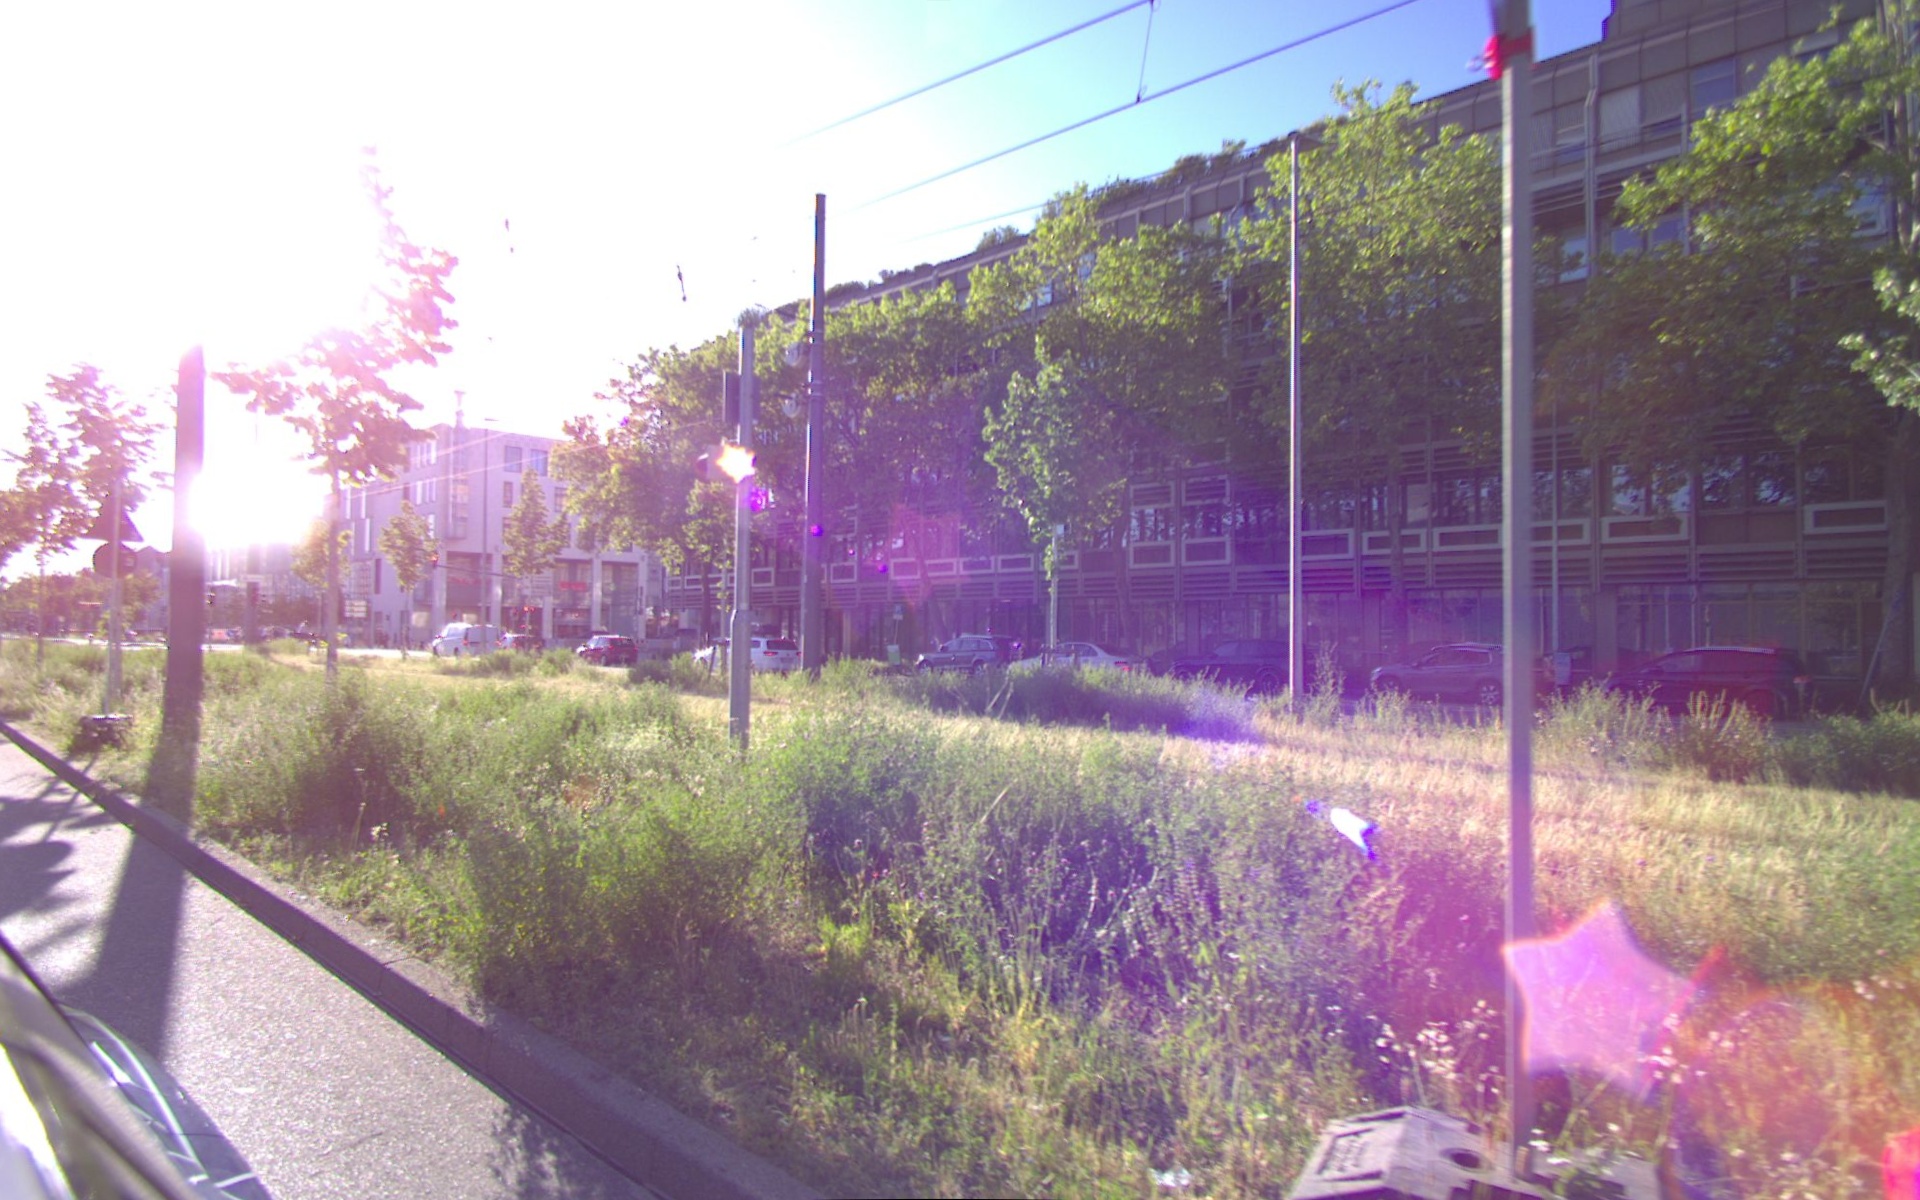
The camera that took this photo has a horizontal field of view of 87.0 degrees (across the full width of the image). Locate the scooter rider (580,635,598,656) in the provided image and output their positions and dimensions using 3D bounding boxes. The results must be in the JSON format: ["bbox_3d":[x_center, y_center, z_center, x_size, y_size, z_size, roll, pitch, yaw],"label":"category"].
[{"bbox_3d":[-28.617,3.504,77.969,0.644,1.556,1.101,0,-2,45],"label":"scooter rider"}]

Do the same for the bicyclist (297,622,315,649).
[{"bbox_3d":[-40.071,2.172,62.018,0.774,1.682,0.702,2,-3,-42],"label":"bicyclist"}]

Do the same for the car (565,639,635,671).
[{"bbox_3d":[-17.585,2.671,49.346,3.575,1.464,1.692,-1,-5,43],"label":"car"}]

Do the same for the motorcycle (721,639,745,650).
[{"bbox_3d":[-20.251,3.998,90.243,1.928,0.976,0.759,2,-2,-38],"label":"motorcycle"}]

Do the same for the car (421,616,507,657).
[{"bbox_3d":[-26.484,1.933,53.926,5.710,2.029,2.233,-2,-5,44],"label":"car"}]

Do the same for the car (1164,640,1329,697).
[{"bbox_3d":[8.765,2.049,31.235,4.620,1.569,1.726,-1,-1,41],"label":"car"}]

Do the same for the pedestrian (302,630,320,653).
[{"bbox_3d":[-57.300,3.671,89.362,0.906,2.029,1.021,0,-2,8],"label":"pedestrian"}]

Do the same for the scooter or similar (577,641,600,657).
[{"bbox_3d":[-28.616,3.742,77.960,0.644,1.184,1.462,0,-2,45],"label":"scooter or similar"}]

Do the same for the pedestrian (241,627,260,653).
[{"bbox_3d":[-59.077,3.290,84.283,0.884,2.140,0.949,1,-2,-10],"label":"pedestrian"}]

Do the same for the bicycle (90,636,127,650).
[{"bbox_3d":[-64.547,3.266,76.712,2.046,0.986,0.806,1,-2,-45],"label":"bicycle"}]

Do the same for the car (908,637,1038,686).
[{"bbox_3d":[0.451,2.320,39.033,4.864,1.693,1.973,-1,-1,40],"label":"car"}]

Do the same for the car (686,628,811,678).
[{"bbox_3d":[-7.433,1.806,35.356,4.691,1.606,1.821,-1,-3,41],"label":"car"}]

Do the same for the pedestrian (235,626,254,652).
[{"bbox_3d":[-60.092,3.286,85.007,0.889,2.140,0.943,0,-2,13],"label":"pedestrian"}]

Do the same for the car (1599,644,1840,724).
[{"bbox_3d":[17.404,1.859,23.331,4.277,1.608,1.840,-1,-3,43],"label":"car"}]

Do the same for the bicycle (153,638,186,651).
[{"bbox_3d":[-62.022,3.498,79.387,1.948,1.004,0.649,1,-2,-44],"label":"bicycle"}]

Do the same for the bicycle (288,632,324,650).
[{"bbox_3d":[-40.078,2.497,62.014,1.773,1.102,0.710,2,-3,-43],"label":"bicycle"}]

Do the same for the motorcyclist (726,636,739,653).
[{"bbox_3d":[-20.301,3.996,90.204,0.867,1.495,0.759,2,-2,-37],"label":"motorcyclist"}]

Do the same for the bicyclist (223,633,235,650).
[{"bbox_3d":[-61.393,3.498,85.000,0.828,1.367,0.807,1,-2,-38],"label":"bicyclist"}]

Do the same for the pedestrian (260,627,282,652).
[{"bbox_3d":[-57.848,3.310,85.008,1.050,2.145,1.096,0,-2,6],"label":"pedestrian"}]

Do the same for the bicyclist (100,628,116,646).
[{"bbox_3d":[-64.586,2.796,76.707,0.830,1.412,0.806,1,-2,-44],"label":"bicyclist"}]

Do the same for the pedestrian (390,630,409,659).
[{"bbox_3d":[-34.080,2.683,61.553,0.857,1.757,0.729,-2,-2,40],"label":"pedestrian"}]

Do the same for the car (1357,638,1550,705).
[{"bbox_3d":[13.291,1.907,27.423,4.364,1.645,1.889,-2,-5,44],"label":"car"}]

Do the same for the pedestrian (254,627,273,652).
[{"bbox_3d":[-59.112,3.343,85.933,0.887,2.140,0.946,0,-2,4],"label":"pedestrian"}]

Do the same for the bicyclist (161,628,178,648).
[{"bbox_3d":[-62.033,2.960,79.405,0.927,1.556,0.649,1,-2,-43],"label":"bicyclist"}]

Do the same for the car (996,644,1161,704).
[{"bbox_3d":[3.337,2.084,29.207,4.582,1.527,1.739,-1,-3,43],"label":"car"}]

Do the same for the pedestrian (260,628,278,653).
[{"bbox_3d":[-60.076,3.525,87.985,0.889,2.140,0.943,0,-2,13],"label":"pedestrian"}]

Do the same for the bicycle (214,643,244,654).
[{"bbox_3d":[-61.386,4.061,84.987,2.043,0.934,0.807,1,-2,-38],"label":"bicycle"}]

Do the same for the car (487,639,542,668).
[{"bbox_3d":[-25.059,2.982,56.856,1.817,1.497,3.887,6,-6,-38],"label":"car"}]

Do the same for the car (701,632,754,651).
[{"bbox_3d":[-22.577,4.024,98.305,4.478,1.725,2.129,2,-2,-39],"label":"car"}]
